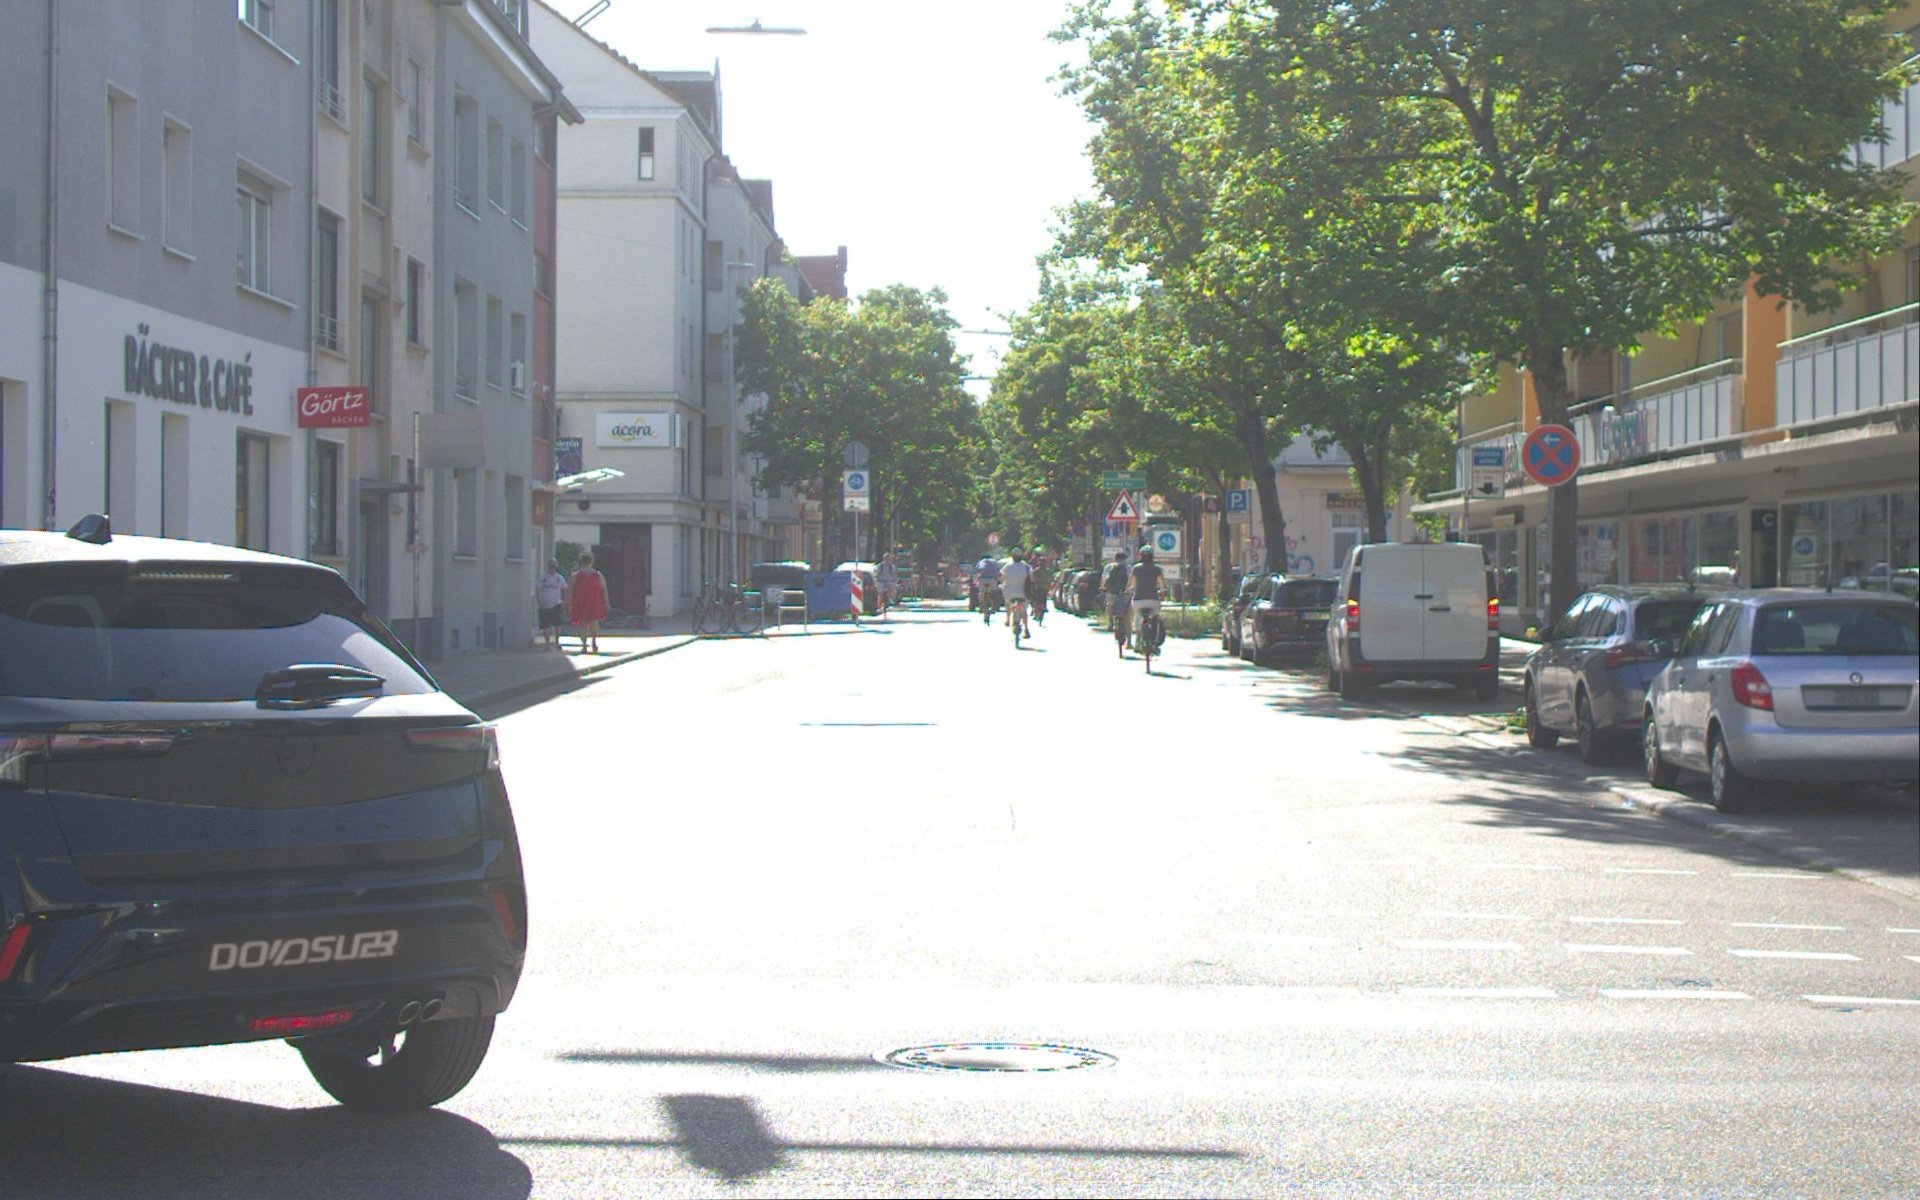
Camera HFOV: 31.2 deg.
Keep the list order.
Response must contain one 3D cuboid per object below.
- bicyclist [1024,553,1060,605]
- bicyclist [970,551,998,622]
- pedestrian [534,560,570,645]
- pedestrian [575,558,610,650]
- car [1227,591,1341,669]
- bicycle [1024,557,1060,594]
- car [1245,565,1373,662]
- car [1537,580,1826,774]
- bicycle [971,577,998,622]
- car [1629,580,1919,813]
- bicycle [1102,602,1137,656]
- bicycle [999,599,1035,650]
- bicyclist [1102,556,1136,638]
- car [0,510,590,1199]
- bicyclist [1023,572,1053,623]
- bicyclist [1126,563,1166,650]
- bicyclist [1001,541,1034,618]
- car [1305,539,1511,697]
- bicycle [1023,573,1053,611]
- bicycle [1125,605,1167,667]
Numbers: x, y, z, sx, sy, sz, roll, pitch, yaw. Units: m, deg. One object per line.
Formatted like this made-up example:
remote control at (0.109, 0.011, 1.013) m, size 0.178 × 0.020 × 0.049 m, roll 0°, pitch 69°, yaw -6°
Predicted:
bicyclist at (2.142, -0.561, 90.180) m, size 0.856 × 1.310 × 1.210 m, roll 3°, pitch 1°, yaw 0°
bicyclist at (0.560, -0.320, 80.502) m, size 0.632 × 1.663 × 1.050 m, roll 0°, pitch 1°, yaw 0°
pedestrian at (-7.057, 0.043, 59.484) m, size 0.577 × 1.462 × 0.703 m, roll 0°, pitch 0°, yaw -5°
pedestrian at (-6.337, 0.066, 59.288) m, size 0.577 × 1.577 × 0.708 m, roll 0°, pitch 0°, yaw -5°
car at (5.712, 0.514, 60.921) m, size 1.712 × 1.310 × 3.381 m, roll 0°, pitch 1°, yaw 1°
bicycle at (2.150, -0.650, 90.202) m, size 0.856 × 0.942 × 2.307 m, roll 3°, pitch 1°, yaw 0°
car at (5.544, 0.197, 54.957) m, size 1.712 × 1.478 × 3.381 m, roll 0°, pitch 1°, yaw 1°
car at (5.936, 0.595, 28.634) m, size 1.712 × 1.478 × 3.381 m, roll 0°, pitch 1°, yaw 1°
bicycle at (0.572, -0.009, 80.879) m, size 0.632 × 1.038 × 1.795 m, roll 0°, pitch 1°, yaw 0°
car at (5.868, 0.620, 24.068) m, size 1.712 × 1.478 × 3.480 m, roll 0°, pitch 1°, yaw 1°
bicycle at (2.694, 0.483, 58.295) m, size 0.547 × 0.863 × 1.876 m, roll 0°, pitch 1°, yaw 1°
bicycle at (1.036, 0.434, 62.042) m, size 0.620 × 0.863 × 1.876 m, roll 0°, pitch 1°, yaw 1°
bicyclist at (2.696, -0.054, 58.203) m, size 0.547 × 1.378 × 0.823 m, roll 0°, pitch 1°, yaw 1°
car at (-2.943, 0.566, 9.272) m, size 1.763 × 1.553 × 3.998 m, roll 0°, pitch 0°, yaw -44°
bicyclist at (1.844, -0.068, 80.813) m, size 0.692 × 1.189 × 0.595 m, roll 0°, pitch 1°, yaw 1°
bicyclist at (2.710, 0.092, 50.136) m, size 0.547 × 1.257 × 0.803 m, roll 0°, pitch 1°, yaw 1°
bicyclist at (1.042, -0.366, 62.184) m, size 0.588 × 1.378 × 0.823 m, roll 0°, pitch 1°, yaw 1°
car at (5.487, 0.178, 42.607) m, size 2.046 × 1.840 × 4.584 m, roll 0°, pitch 1°, yaw 1°
bicycle at (1.838, -0.201, 80.905) m, size 0.691 × 0.863 × 1.876 m, roll 0°, pitch 1°, yaw 1°
bicycle at (2.701, 0.516, 50.030) m, size 0.547 × 0.863 × 1.876 m, roll 0°, pitch 1°, yaw 1°
